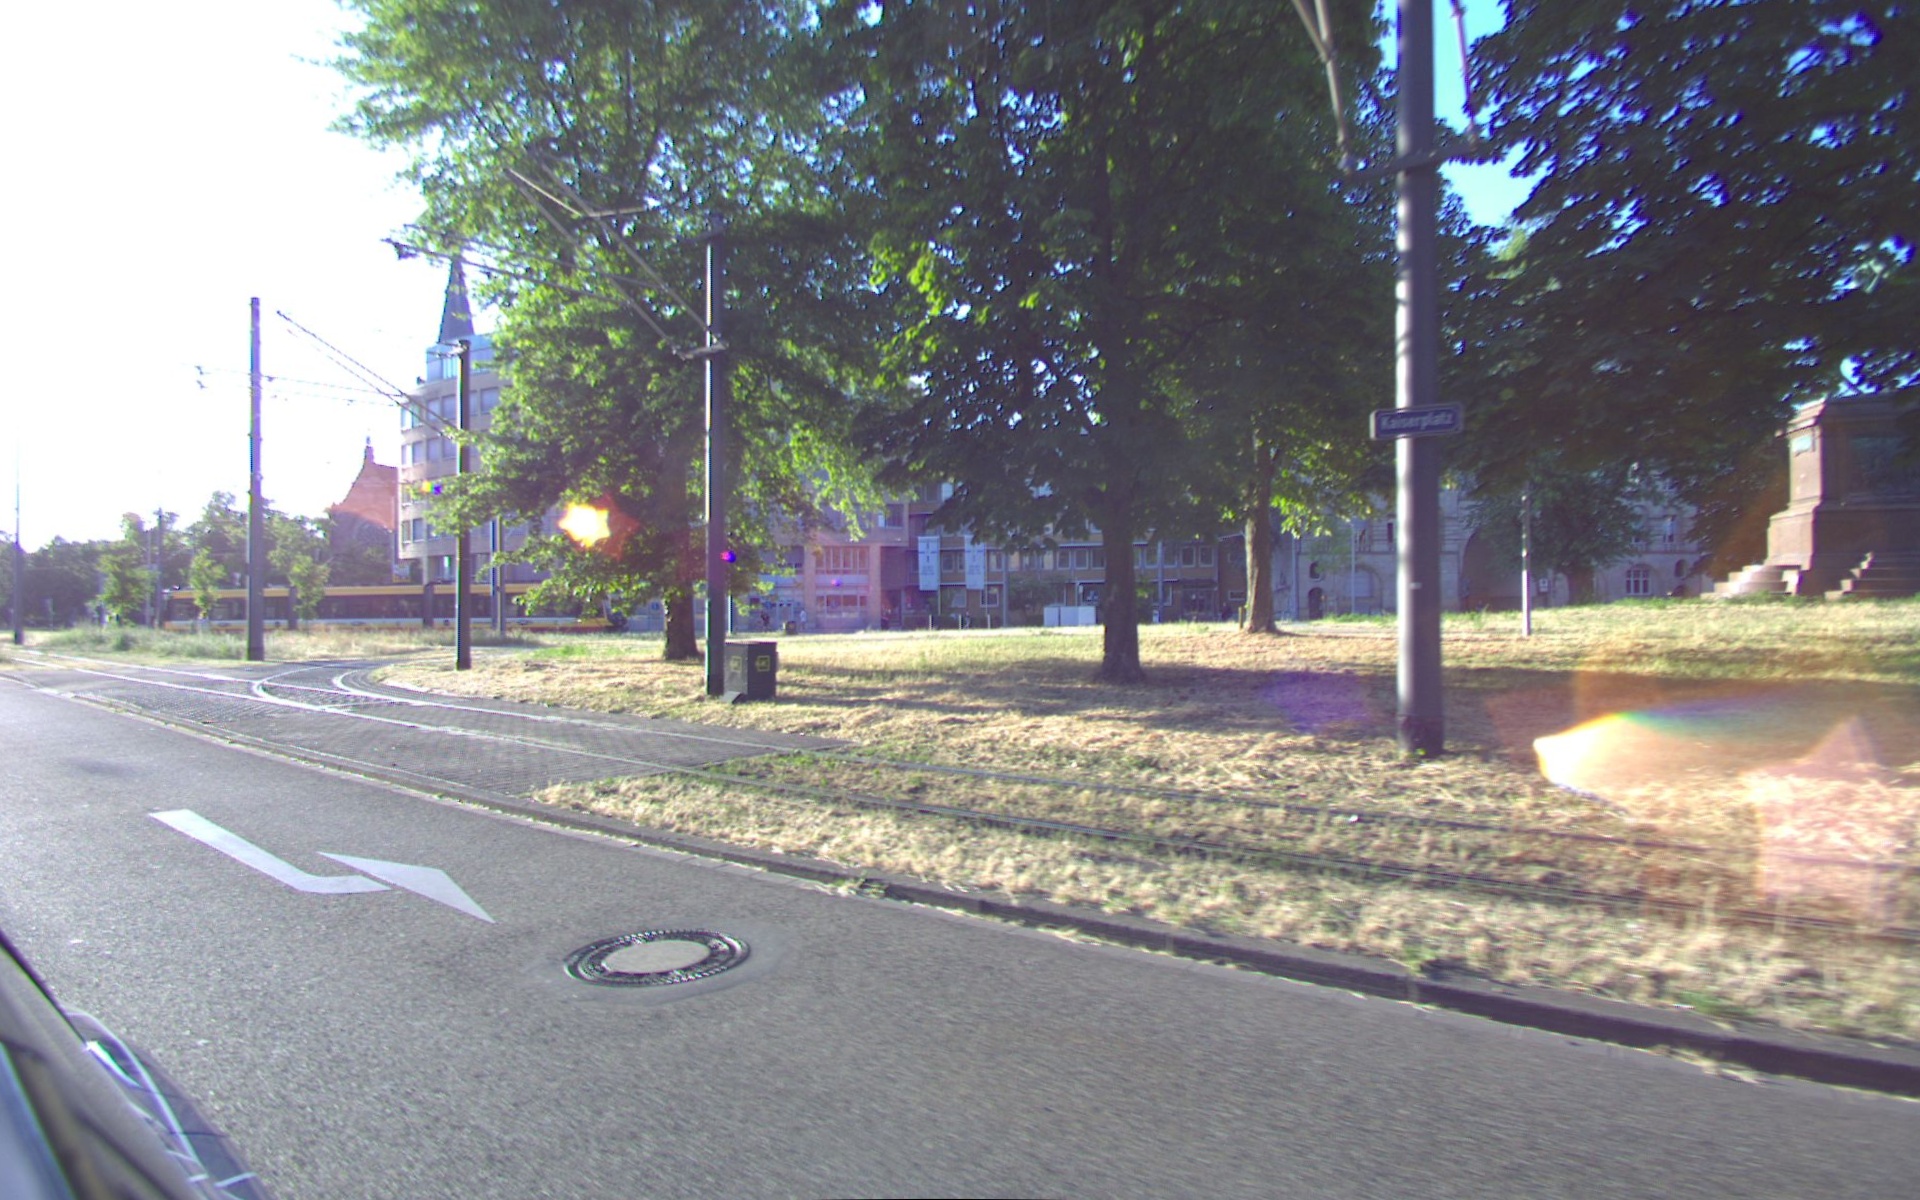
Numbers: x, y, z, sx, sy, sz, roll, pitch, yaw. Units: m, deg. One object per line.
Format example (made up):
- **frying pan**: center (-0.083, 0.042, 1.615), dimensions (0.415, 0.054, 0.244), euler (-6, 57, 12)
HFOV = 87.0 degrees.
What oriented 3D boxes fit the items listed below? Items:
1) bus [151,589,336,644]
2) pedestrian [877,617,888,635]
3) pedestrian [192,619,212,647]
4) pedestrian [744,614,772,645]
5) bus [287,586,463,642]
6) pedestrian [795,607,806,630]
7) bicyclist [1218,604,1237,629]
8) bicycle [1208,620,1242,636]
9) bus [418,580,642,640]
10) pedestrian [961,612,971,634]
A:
- **bus**: center (-49.718, 1.166, 70.223), dimensions (12.022, 3.482, 3.742), euler (-2, 0, 16)
- **pedestrian**: center (-5.695, 1.921, 74.429), dimensions (0.676, 1.334, 0.565), euler (-2, 0, 10)
- **pedestrian**: center (-40.215, 1.745, 53.679), dimensions (0.698, 1.470, 0.664), euler (-2, 0, 36)
- **pedestrian**: center (-14.111, 2.053, 70.838), dimensions (1.617, 2.110, 1.055), euler (-2, 0, 13)
- **bus**: center (-38.802, 0.939, 67.157), dimensions (10.638, 3.356, 3.742), euler (-2, 0, 16)
- **pedestrian**: center (-12.027, 1.426, 76.256), dimensions (0.614, 1.705, 0.527), euler (-2, 0, 23)
- **bicyclist**: center (18.231, 1.120, 68.988), dimensions (0.884, 1.703, 0.955), euler (-1, 0, -6)
- **bicycle**: center (18.042, 1.923, 68.970), dimensions (2.167, 1.018, 0.473), euler (-2, 0, -6)
- **bus**: center (-27.183, 0.656, 63.939), dimensions (13.584, 3.388, 3.743), euler (-2, 0, 15)
- **pedestrian**: center (0.449, 1.667, 73.747), dimensions (0.571, 1.550, 0.564), euler (-2, 0, 13)
